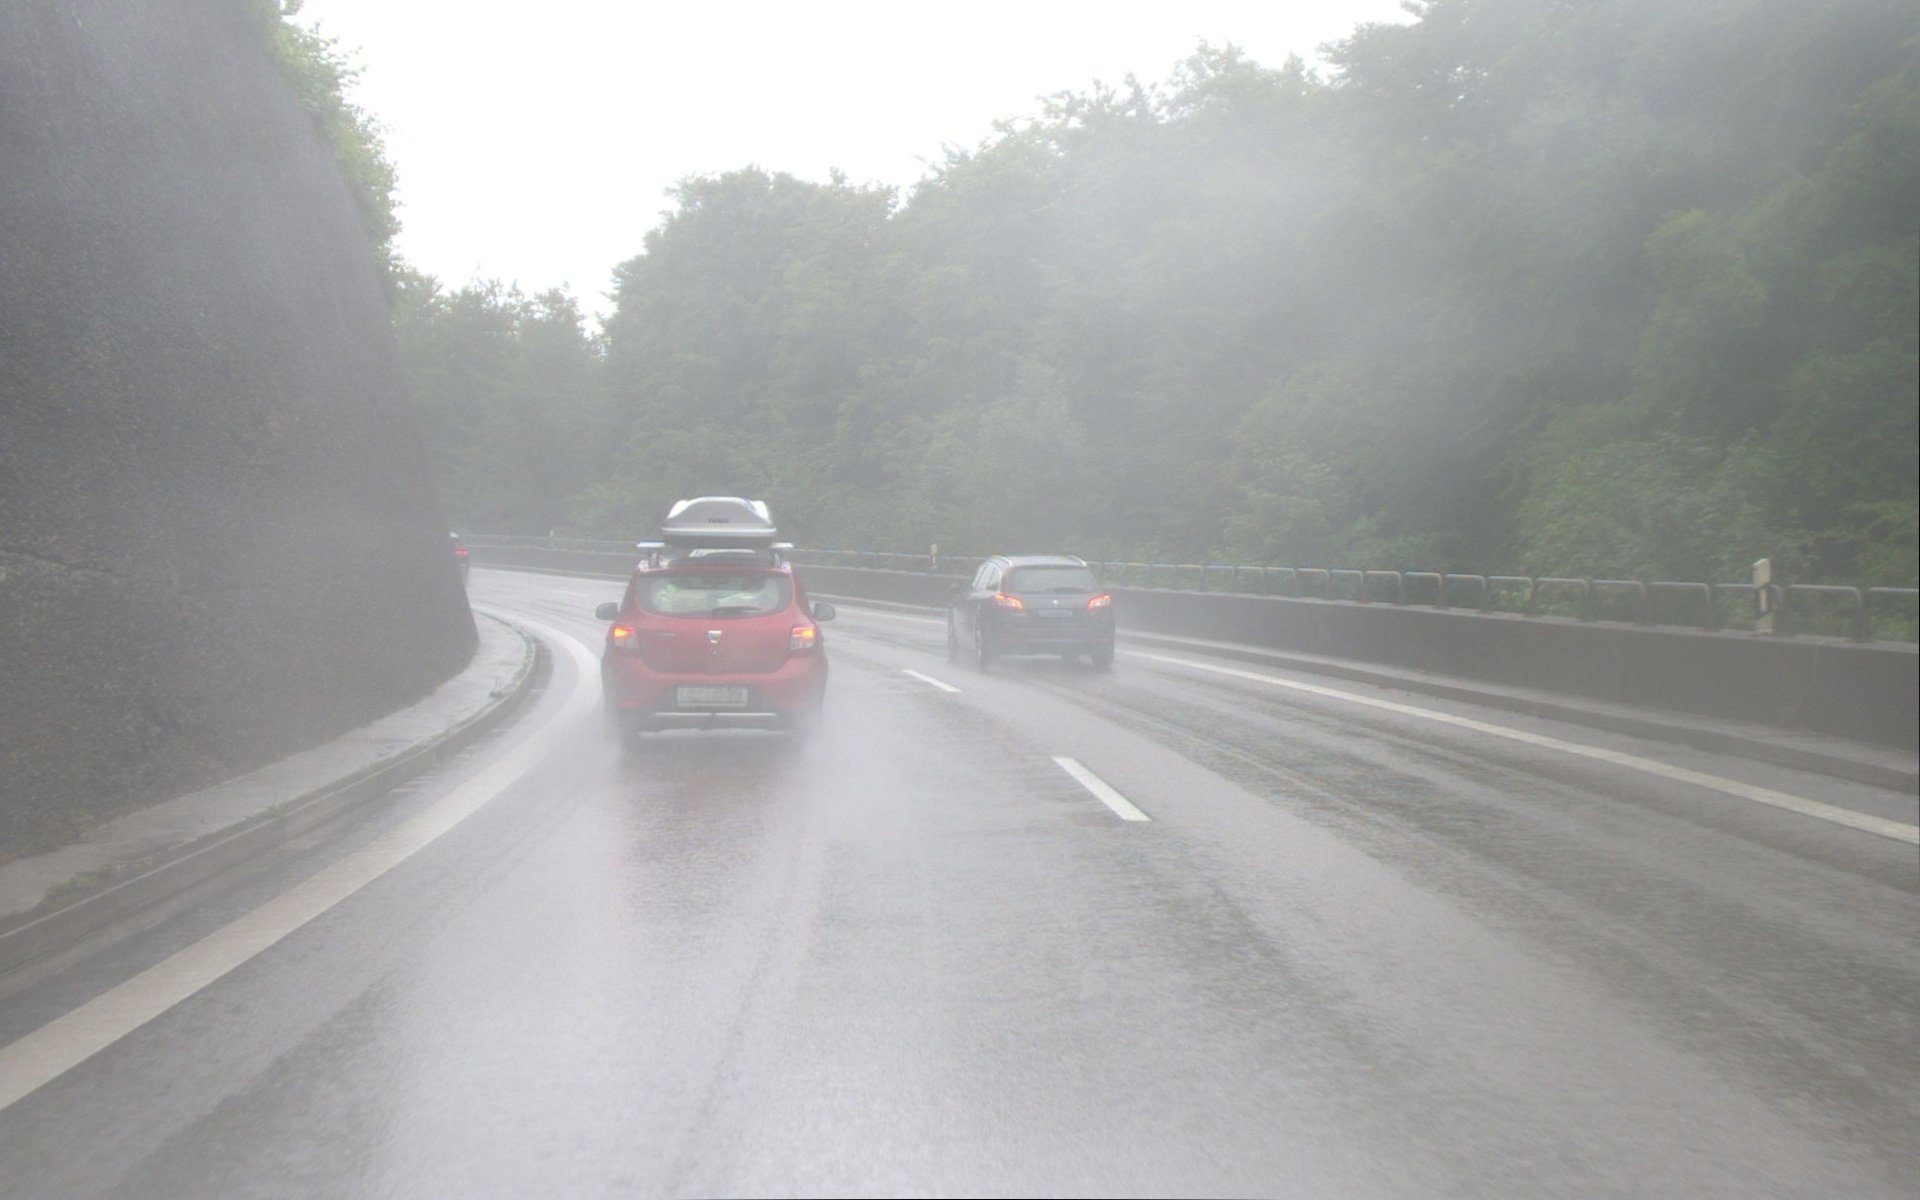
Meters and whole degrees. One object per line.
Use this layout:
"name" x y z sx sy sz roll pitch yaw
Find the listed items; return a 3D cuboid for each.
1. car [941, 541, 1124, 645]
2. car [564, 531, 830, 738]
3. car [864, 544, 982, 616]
"car" 0.919 -0.108 45.977 1.800 1.303 4.001 1 1 -8
"car" -2.103 0.240 28.046 1.993 1.547 4.001 1 1 -3
"car" -0.881 -0.487 79.116 1.993 1.546 4.001 0 2 -11
